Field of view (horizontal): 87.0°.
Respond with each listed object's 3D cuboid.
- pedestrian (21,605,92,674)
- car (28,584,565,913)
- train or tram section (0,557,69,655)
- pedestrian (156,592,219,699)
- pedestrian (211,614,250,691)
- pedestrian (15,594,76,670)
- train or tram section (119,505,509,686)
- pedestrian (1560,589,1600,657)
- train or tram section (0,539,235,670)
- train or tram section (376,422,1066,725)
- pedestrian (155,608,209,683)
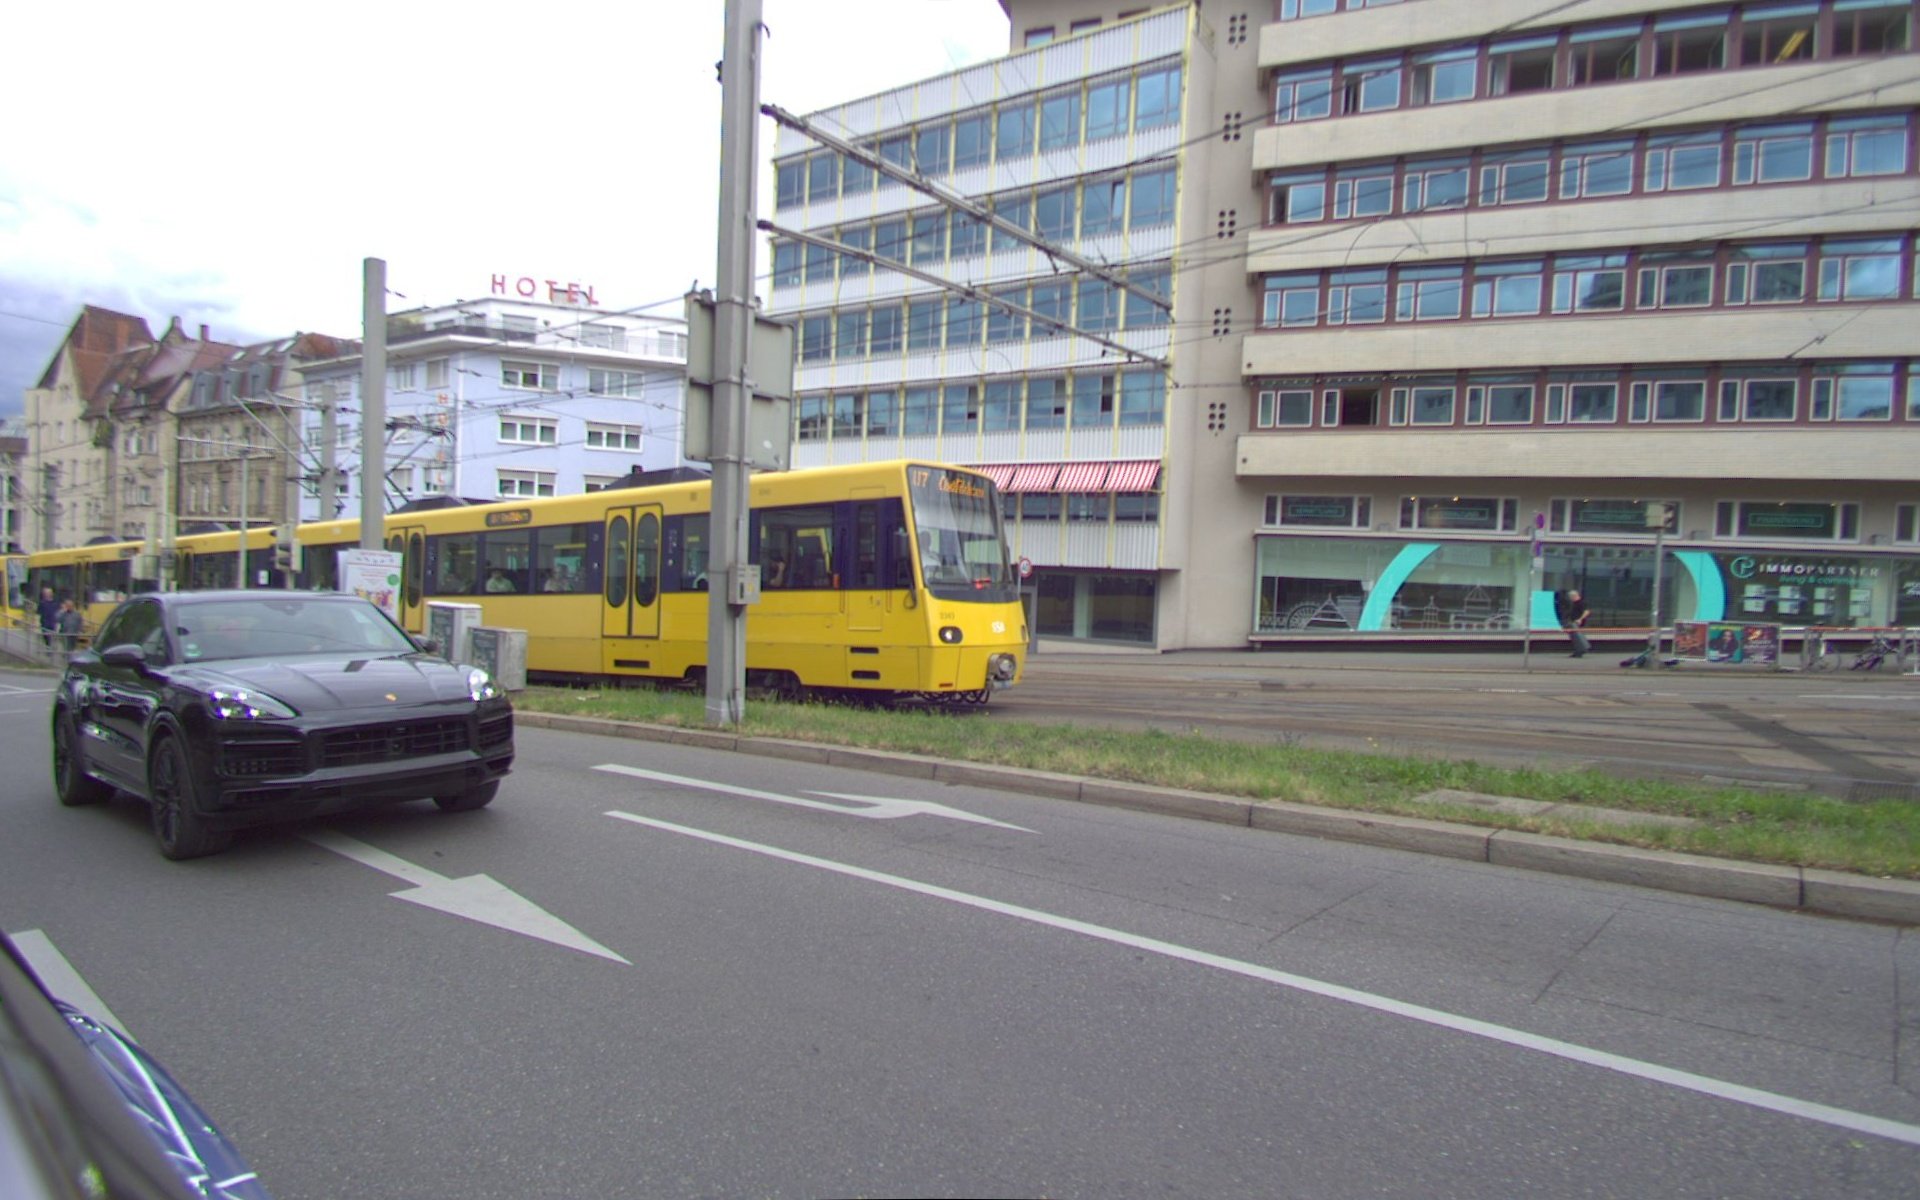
[{"bbox_3d":[-23.510,1.008,26.343,1.039,1.692,1.107,5,2,34],"label":"pedestrian"},{"bbox_3d":[-5.132,0.784,7.529,4.776,1.697,2.007,-1,0,39],"label":"car"},{"bbox_3d":[-40.701,0.188,41.184,14.186,3.585,2.900,0,1,33],"label":"train or tram section"},{"bbox_3d":[-15.744,0.903,20.647,0.953,2.082,1.035,2,1,-37],"label":"pedestrian"},{"bbox_3d":[-14.546,1.035,20.172,0.569,1.475,0.677,3,1,-37],"label":"pedestrian"},{"bbox_3d":[-24.843,0.846,27.488,1.230,1.984,0.922,3,1,34],"label":"pedestrian"},{"bbox_3d":[-16.946,-0.025,25.728,14.189,3.691,2.858,-1,-1,34],"label":"train or tram section"},{"bbox_3d":[16.004,0.588,26.133,0.780,1.721,0.754,-1,-1,26],"label":"pedestrian"},{"bbox_3d":[-28.786,0.169,33.431,14.186,3.691,2.859,-1,0,33],"label":"train or tram section"},{"bbox_3d":[-5.179,-0.254,17.646,14.441,3.691,2.857,-1,-1,35],"label":"train or tram section"},{"bbox_3d":[-17.500,1.001,22.762,0.998,1.637,0.670,-1,-1,33],"label":"pedestrian"}]
